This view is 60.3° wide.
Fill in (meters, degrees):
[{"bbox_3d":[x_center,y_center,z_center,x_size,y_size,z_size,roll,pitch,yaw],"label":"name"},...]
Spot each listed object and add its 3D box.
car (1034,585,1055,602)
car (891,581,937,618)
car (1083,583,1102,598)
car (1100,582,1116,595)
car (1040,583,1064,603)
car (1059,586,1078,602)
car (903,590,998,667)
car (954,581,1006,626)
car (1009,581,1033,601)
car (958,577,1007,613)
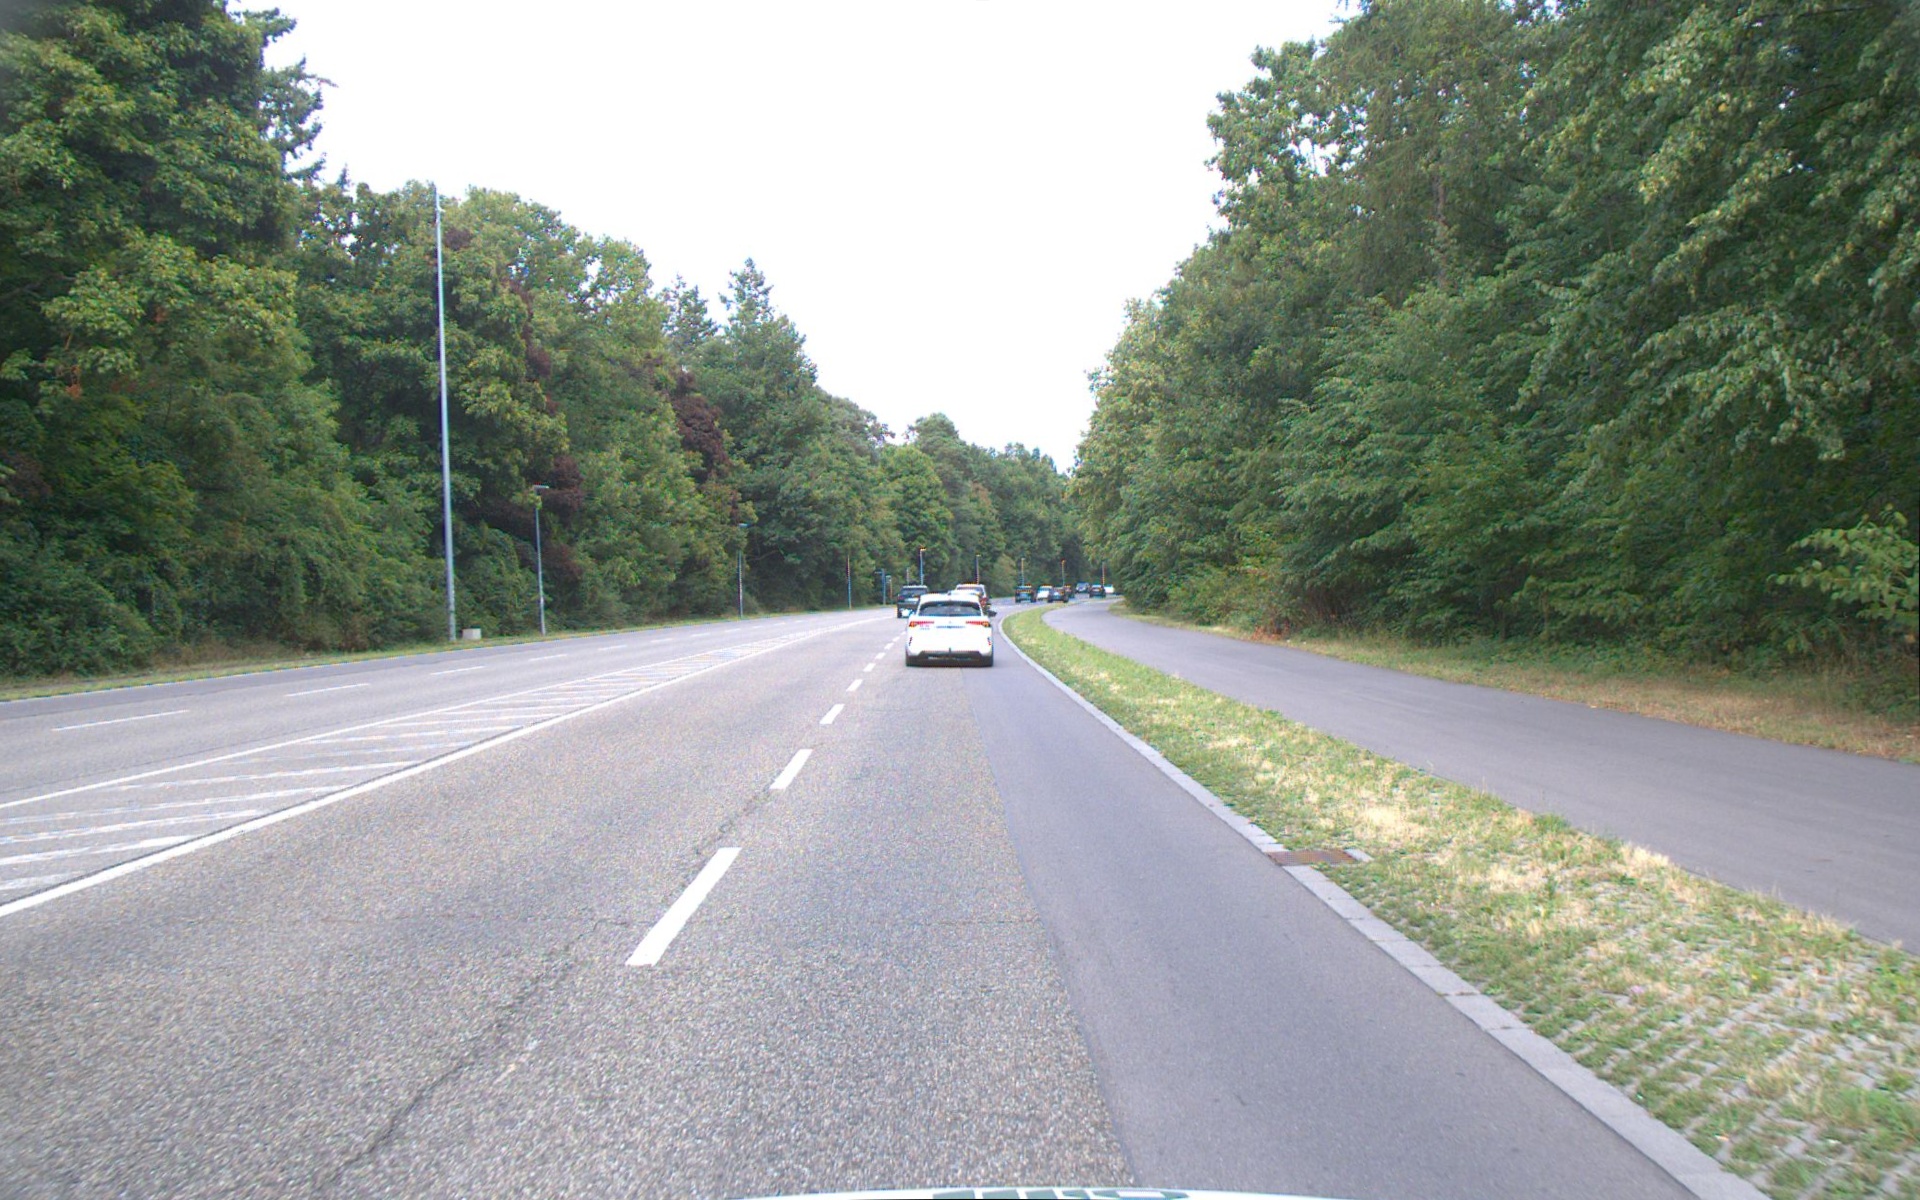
[{"bbox_3d":[9.245,-0.702,180.879,1.951,1.814,4.003,1,0,8],"label":"car"},{"bbox_3d":[-2.350,-0.001,85.282,1.952,1.818,4.002,2,0,4],"label":"car"},{"bbox_3d":[16.573,-1.171,206.513,1.951,1.814,4.003,1,0,9],"label":"car"},{"bbox_3d":[22.068,-1.699,246.793,1.848,1.847,4.003,1,-1,12],"label":"car"},{"bbox_3d":[8.988,-0.652,161.310,1.951,1.814,4.003,1,0,9],"label":"car"},{"bbox_3d":[13.084,-0.745,199.810,1.951,1.814,4.003,1,0,8],"label":"car"},{"bbox_3d":[-0.253,0.553,33.898,1.799,1.435,4.489,1,0,-2],"label":"car"},{"bbox_3d":[0.657,0.124,57.337,1.602,1.445,3.998,2,0,-2],"label":"car"},{"bbox_3d":[6.019,-0.860,162.675,1.951,1.814,4.003,1,0,8],"label":"car"},{"bbox_3d":[1.125,-0.236,79.853,1.951,1.635,4.003,1,0,6],"label":"car"}]
